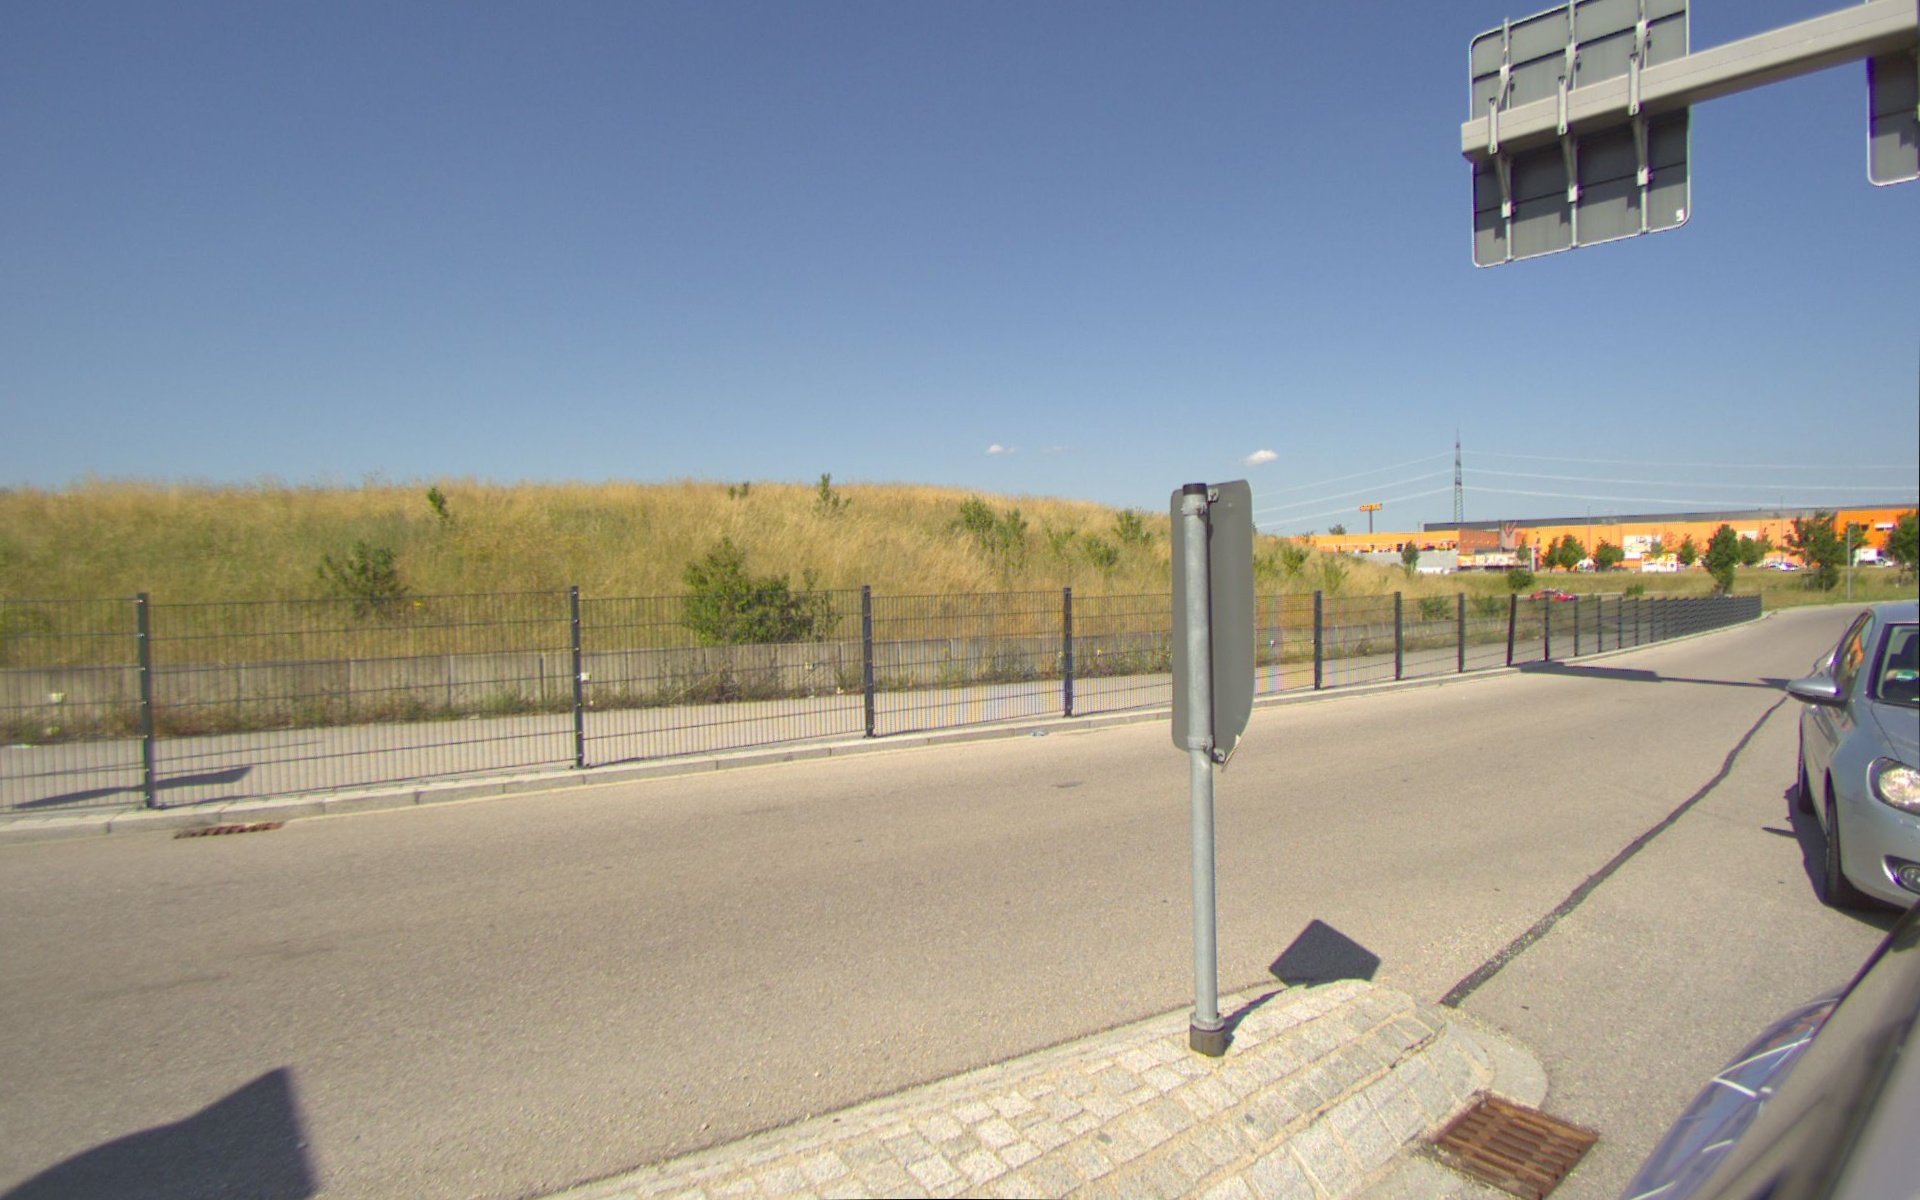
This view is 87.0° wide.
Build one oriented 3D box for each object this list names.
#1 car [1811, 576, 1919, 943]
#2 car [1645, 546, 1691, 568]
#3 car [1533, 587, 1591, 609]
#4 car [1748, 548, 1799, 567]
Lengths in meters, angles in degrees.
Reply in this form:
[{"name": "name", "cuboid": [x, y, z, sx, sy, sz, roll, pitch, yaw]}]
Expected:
[{"name": "car", "cuboid": [5.609, 0.647, 5.253, 1.740, 1.486, 3.902, 3, 3, 41]}, {"name": "car", "cuboid": [88.193, -5.314, 126.060, 4.611, 2.580, 1.973, -1, 0, 38]}, {"name": "car", "cuboid": [57.518, -0.149, 96.725, 4.610, 2.039, 1.973, -1, 1, 38]}, {"name": "car", "cuboid": [95.891, -4.988, 119.358, 4.611, 2.039, 1.973, -1, 1, 38]}]
